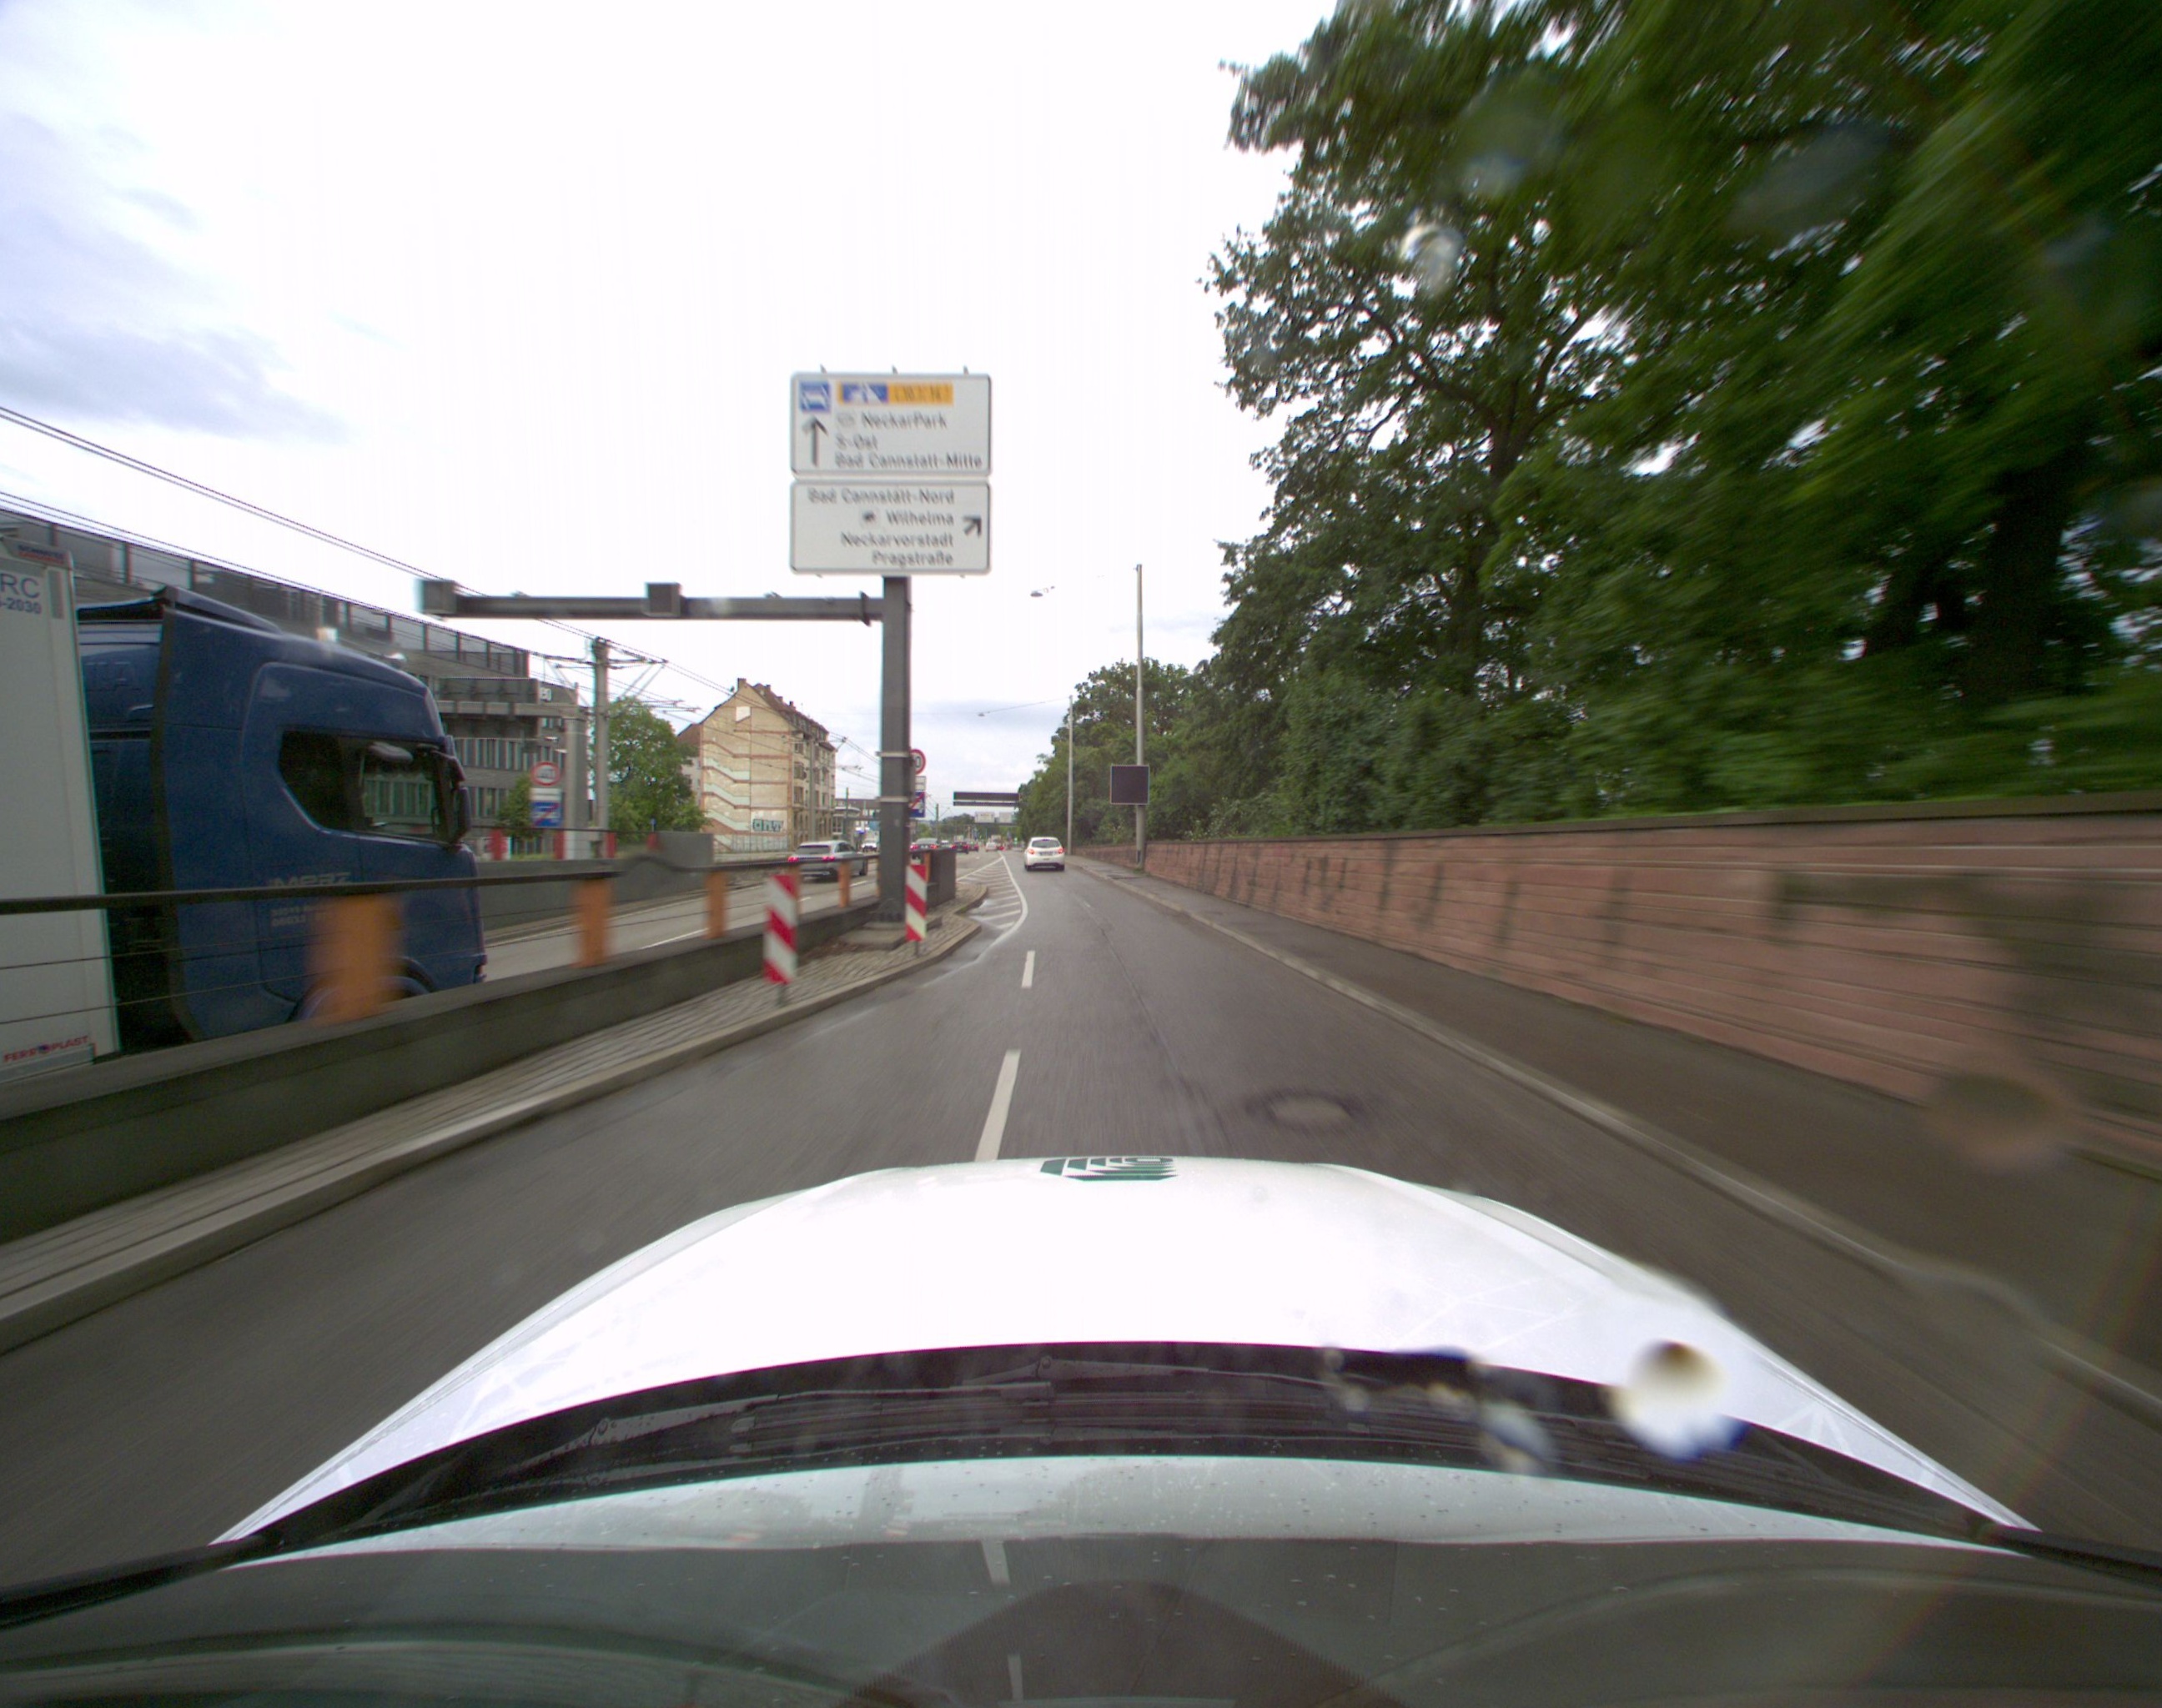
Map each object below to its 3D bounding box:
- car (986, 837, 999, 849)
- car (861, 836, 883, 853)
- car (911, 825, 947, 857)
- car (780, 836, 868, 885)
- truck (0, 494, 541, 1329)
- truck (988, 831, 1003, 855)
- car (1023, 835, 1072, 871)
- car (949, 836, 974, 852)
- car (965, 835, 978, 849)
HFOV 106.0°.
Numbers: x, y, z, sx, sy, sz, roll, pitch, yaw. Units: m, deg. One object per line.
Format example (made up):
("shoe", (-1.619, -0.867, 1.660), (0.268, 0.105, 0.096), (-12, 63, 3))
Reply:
("car", (-14.998, -1.854, 137.732), (2.078, 1.872, 4.088), (0, 0, -5))
("car", (-29.088, -1.299, 113.518), (1.990, 2.118, 5.101), (1, -1, -5))
("car", (-9.833, -0.858, 53.000), (1.717, 1.890, 3.535), (1, 4, -1))
("car", (-9.560, 0.192, 30.626), (1.814, 1.565, 4.095), (-1, 3, 2))
("truck", (-6.794, 0.287, 4.550), (2.751, 4.196, 6.789), (-1, 1, 2))
("truck", (-22.093, -2.815, 211.335), (3.458, 5.402, 12.030), (1, -3, -4))
("car", (-1.593, -0.073, 37.091), (1.953, 1.488, 3.991), (2, 1, -6))
("car", (-12.943, -1.112, 88.544), (1.985, 1.575, 4.004), (0, 2, 3))
("car", (-18.419, -1.988, 136.724), (1.991, 2.014, 3.990), (2, -3, -6))
